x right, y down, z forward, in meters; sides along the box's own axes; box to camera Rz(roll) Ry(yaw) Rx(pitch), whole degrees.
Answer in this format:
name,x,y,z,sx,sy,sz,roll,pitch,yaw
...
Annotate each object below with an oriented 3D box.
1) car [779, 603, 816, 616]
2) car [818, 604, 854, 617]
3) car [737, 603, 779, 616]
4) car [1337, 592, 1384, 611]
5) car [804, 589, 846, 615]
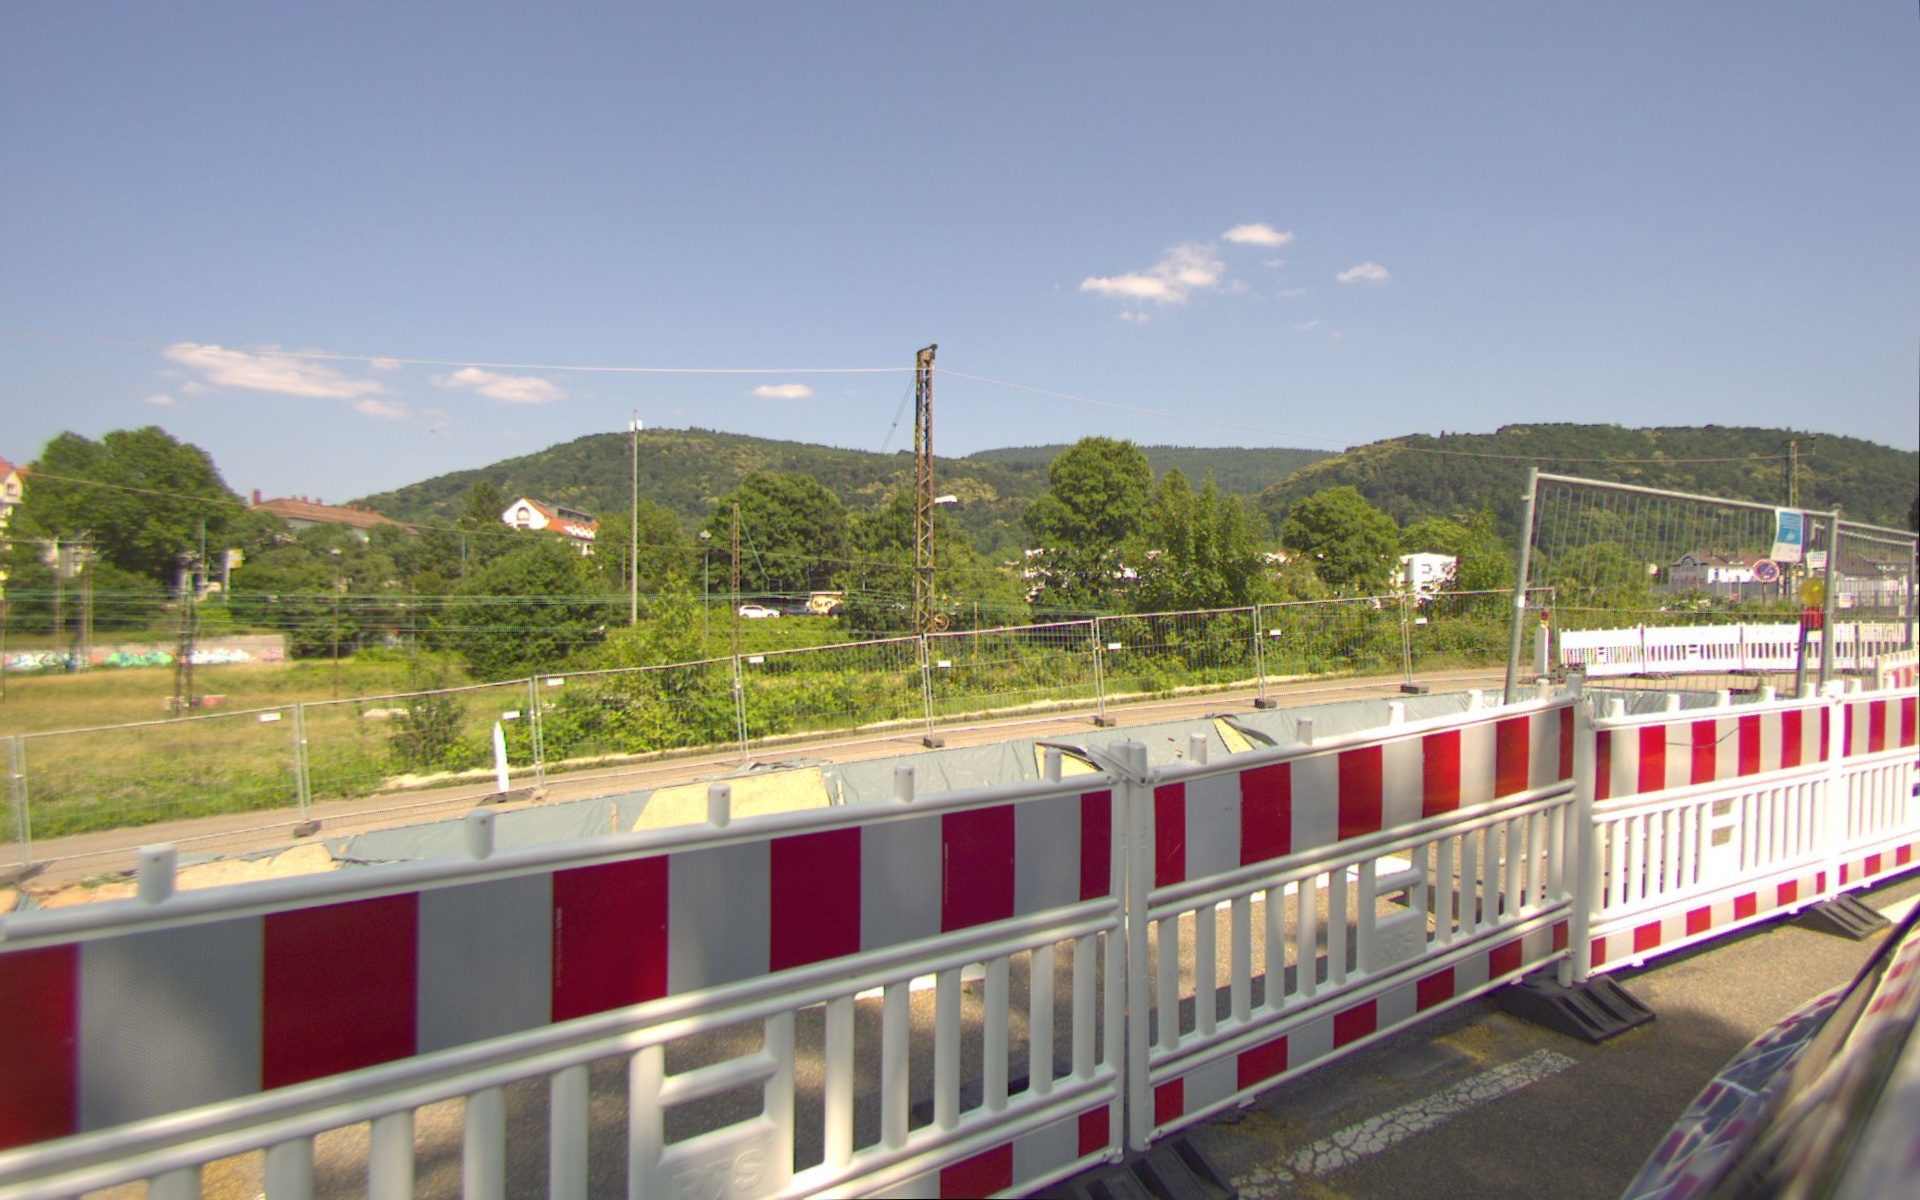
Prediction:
name,x,y,z,sx,sy,sz,roll,pitch,yaw
car,-17.616,1.048,110.032,3.770,1.384,1.783,0,0,1
car,-13.419,1.144,109.993,3.768,1.384,1.784,0,0,-2
car,-22.000,1.007,110.197,4.236,1.384,1.865,0,0,2
car,52.245,0.208,131.917,5.403,2.130,2.138,-2,-5,-17
car,-15.061,0.195,112.885,4.546,2.888,1.868,0,-1,-7
